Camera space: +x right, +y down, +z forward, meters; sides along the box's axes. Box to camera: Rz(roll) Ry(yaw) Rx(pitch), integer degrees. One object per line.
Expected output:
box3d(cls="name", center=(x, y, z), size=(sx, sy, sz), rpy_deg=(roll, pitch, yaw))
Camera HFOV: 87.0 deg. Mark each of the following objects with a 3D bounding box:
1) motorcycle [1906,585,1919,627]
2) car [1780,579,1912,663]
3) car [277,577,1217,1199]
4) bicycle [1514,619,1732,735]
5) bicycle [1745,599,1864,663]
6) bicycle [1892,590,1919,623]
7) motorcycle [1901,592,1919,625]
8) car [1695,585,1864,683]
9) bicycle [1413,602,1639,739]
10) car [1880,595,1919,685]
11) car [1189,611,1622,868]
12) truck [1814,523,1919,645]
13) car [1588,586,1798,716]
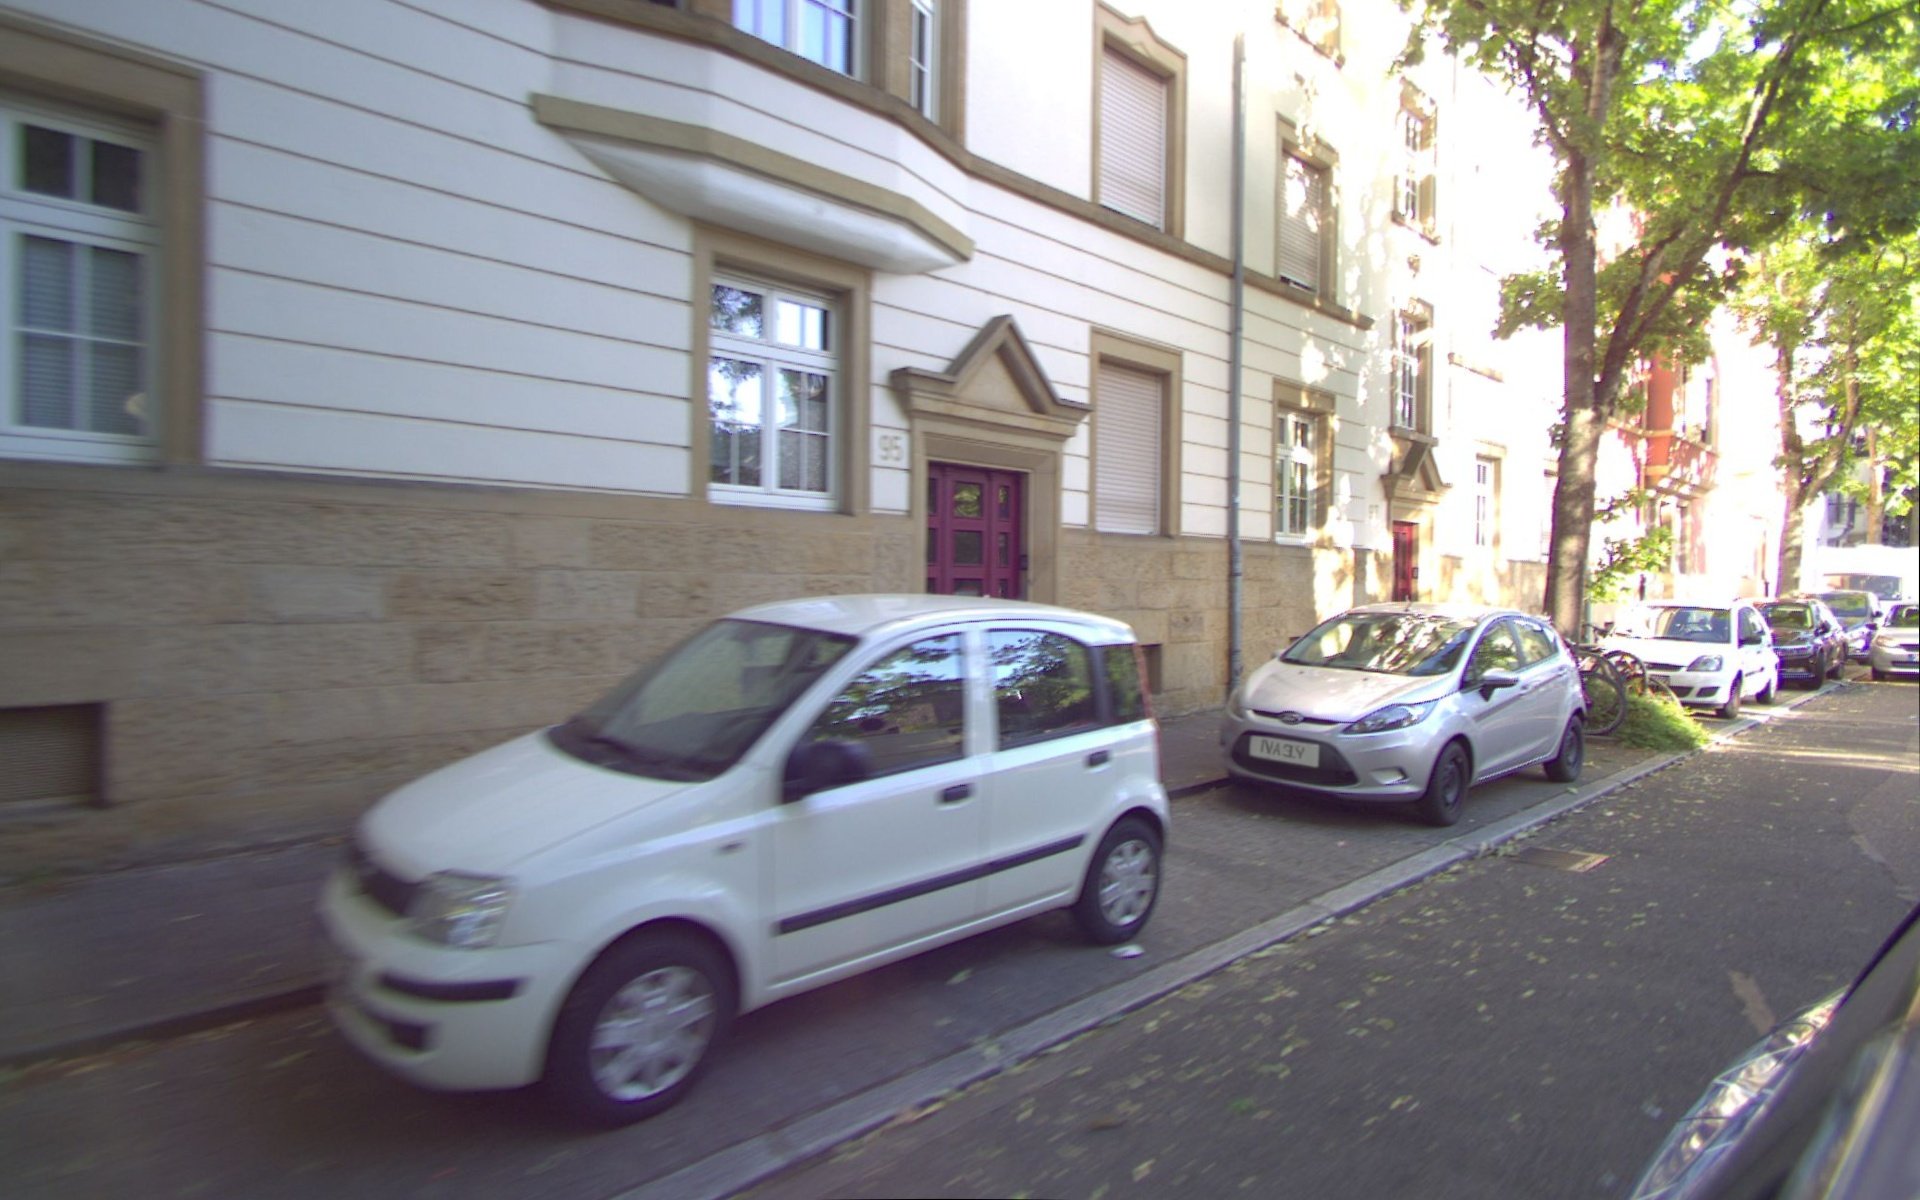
box3d(cls="motorcycle", center=(35.796, 0.208, 37.444), size=(2.101, 1.504, 0.931), rpy_deg=(0, 1, -41))
box3d(cls="car", center=(20.778, 0.404, 23.666), size=(4.862, 1.737, 1.887), rpy_deg=(-1, 2, -44))
box3d(cls="car", center=(-0.599, 0.688, 4.137), size=(3.483, 1.529, 1.522), rpy_deg=(-1, 2, -42))
box3d(cls="bicycle", center=(7.527, 0.829, 11.590), size=(0.589, 1.086, 1.973), rpy_deg=(0, 3, -41))
box3d(cls="bicycle", center=(17.773, 0.632, 21.337), size=(0.559, 1.181, 1.814), rpy_deg=(0, 3, -42))
box3d(cls="bicycle", center=(39.496, 0.282, 41.542), size=(0.576, 1.321, 1.761), rpy_deg=(0, 1, -43))
box3d(cls="motorcycle", center=(38.129, 0.336, 39.630), size=(1.736, 1.256, 0.701), rpy_deg=(0, 0, 9))
box3d(cls="car", center=(14.704, 0.512, 18.069), size=(4.385, 1.533, 1.788), rpy_deg=(-1, 1, -43))
box3d(cls="bicycle", center=(6.100, 0.698, 11.008), size=(0.747, 1.244, 1.973), rpy_deg=(0, 3, -41))
box3d(cls="car", center=(18.408, 0.696, 18.798), size=(3.736, 1.564, 1.680), rpy_deg=(-1, 0, -43))
box3d(cls="car", center=(3.709, 0.864, 8.068), size=(4.086, 1.411, 1.625), rpy_deg=(-1, 2, -42))
box3d(cls="truck", center=(25.439, -0.471, 27.909), size=(6.006, 3.004, 2.077), rpy_deg=(0, 4, -43))
box3d(cls="car", center=(10.176, 0.591, 13.958), size=(3.684, 1.506, 1.599), rpy_deg=(-1, 2, -42))
